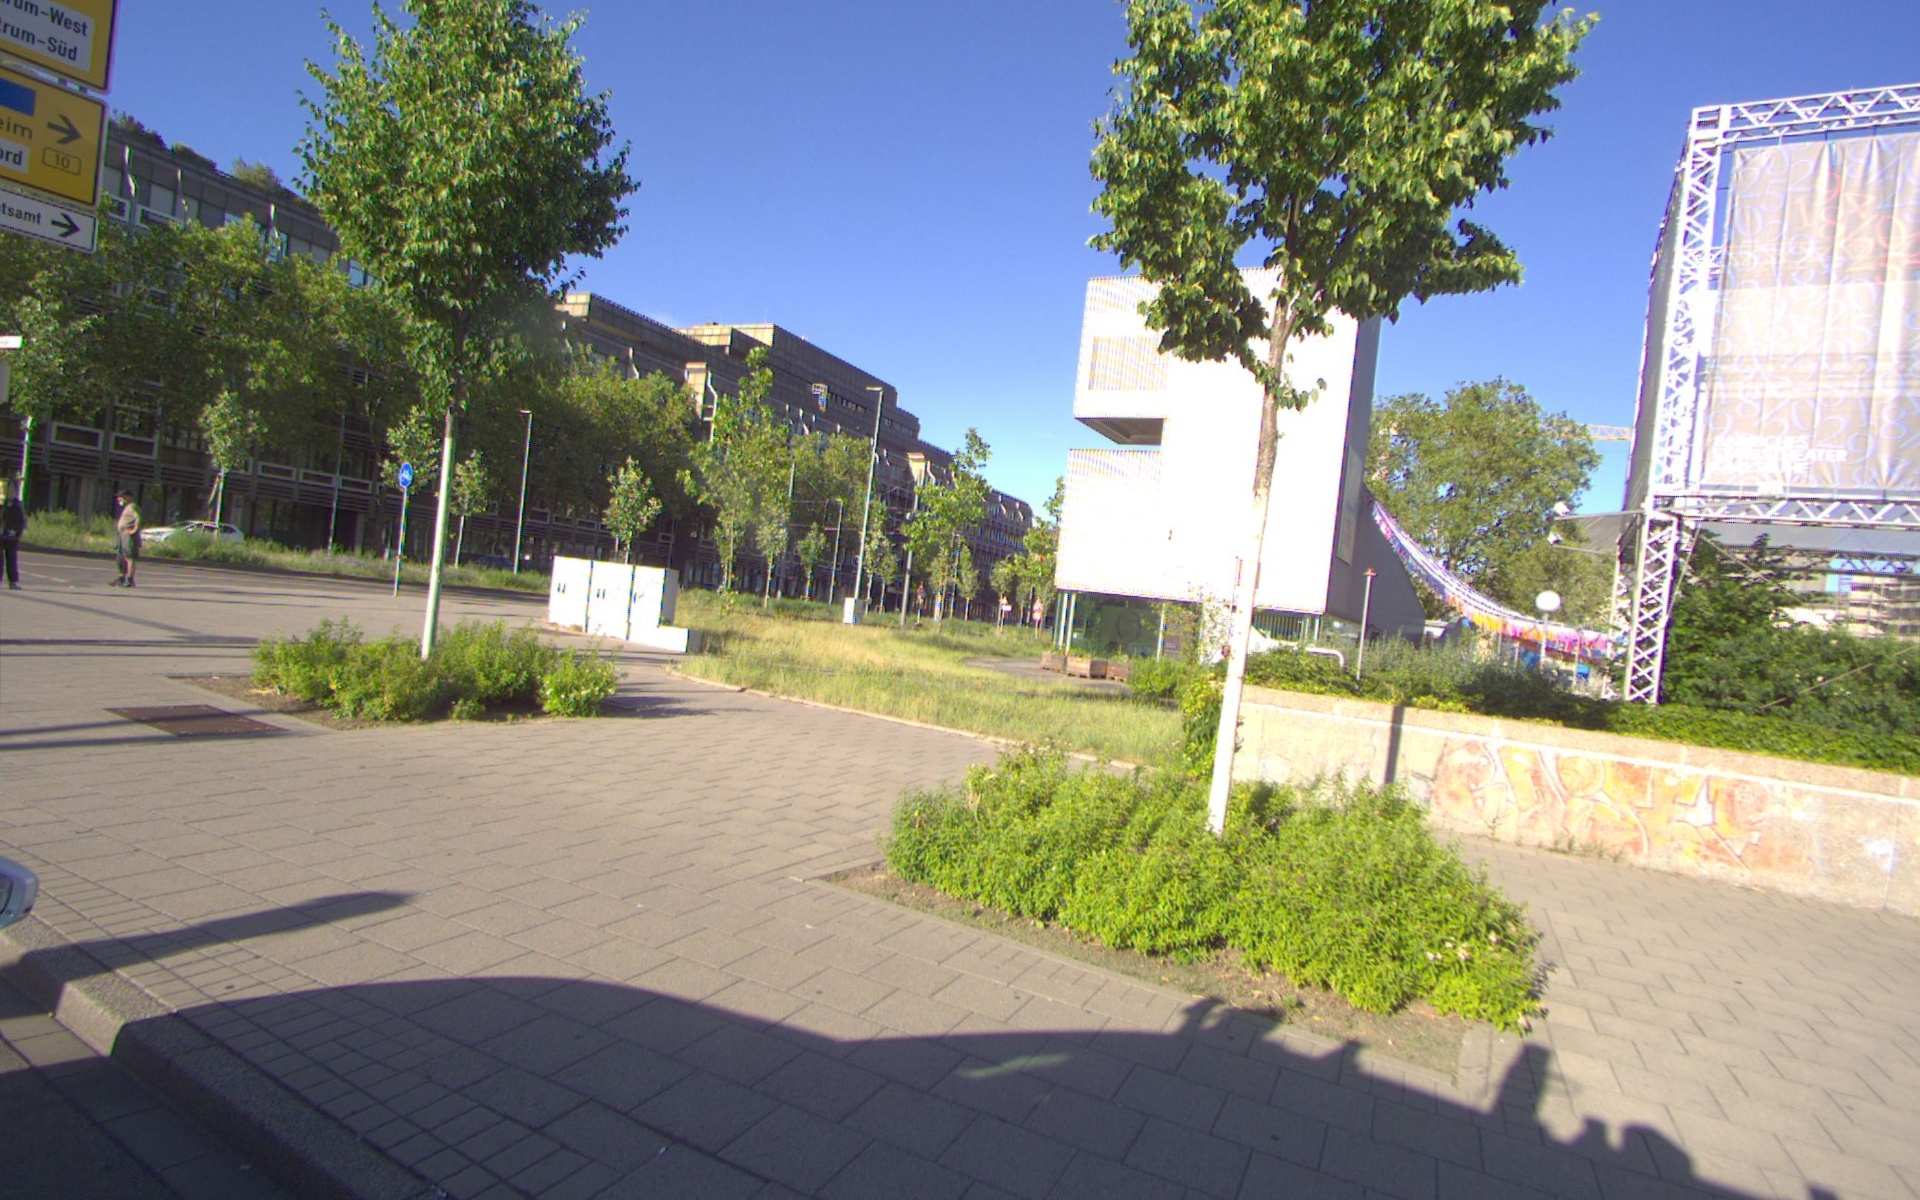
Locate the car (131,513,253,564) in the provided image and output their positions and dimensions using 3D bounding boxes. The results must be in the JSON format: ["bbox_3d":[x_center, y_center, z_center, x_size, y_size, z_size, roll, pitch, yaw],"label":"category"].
[{"bbox_3d":[-34.068,-2.710,44.742,1.630,1.603,3.912,7,-2,25],"label":"car"}]

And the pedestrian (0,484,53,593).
[{"bbox_3d":[-14.043,-0.921,14.781,0.633,1.510,0.789,6,-1,31],"label":"pedestrian"}]

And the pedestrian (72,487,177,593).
[{"bbox_3d":[-14.903,-1.053,17.957,0.946,1.684,0.882,7,-1,11],"label":"pedestrian"}]

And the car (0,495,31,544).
[{"bbox_3d":[-33.988,-2.943,33.647,1.629,1.604,3.896,6,-1,24],"label":"car"}]

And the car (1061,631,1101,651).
[{"bbox_3d":[10.656,3.628,88.300,1.820,1.437,4.956,7,-1,26],"label":"car"}]
